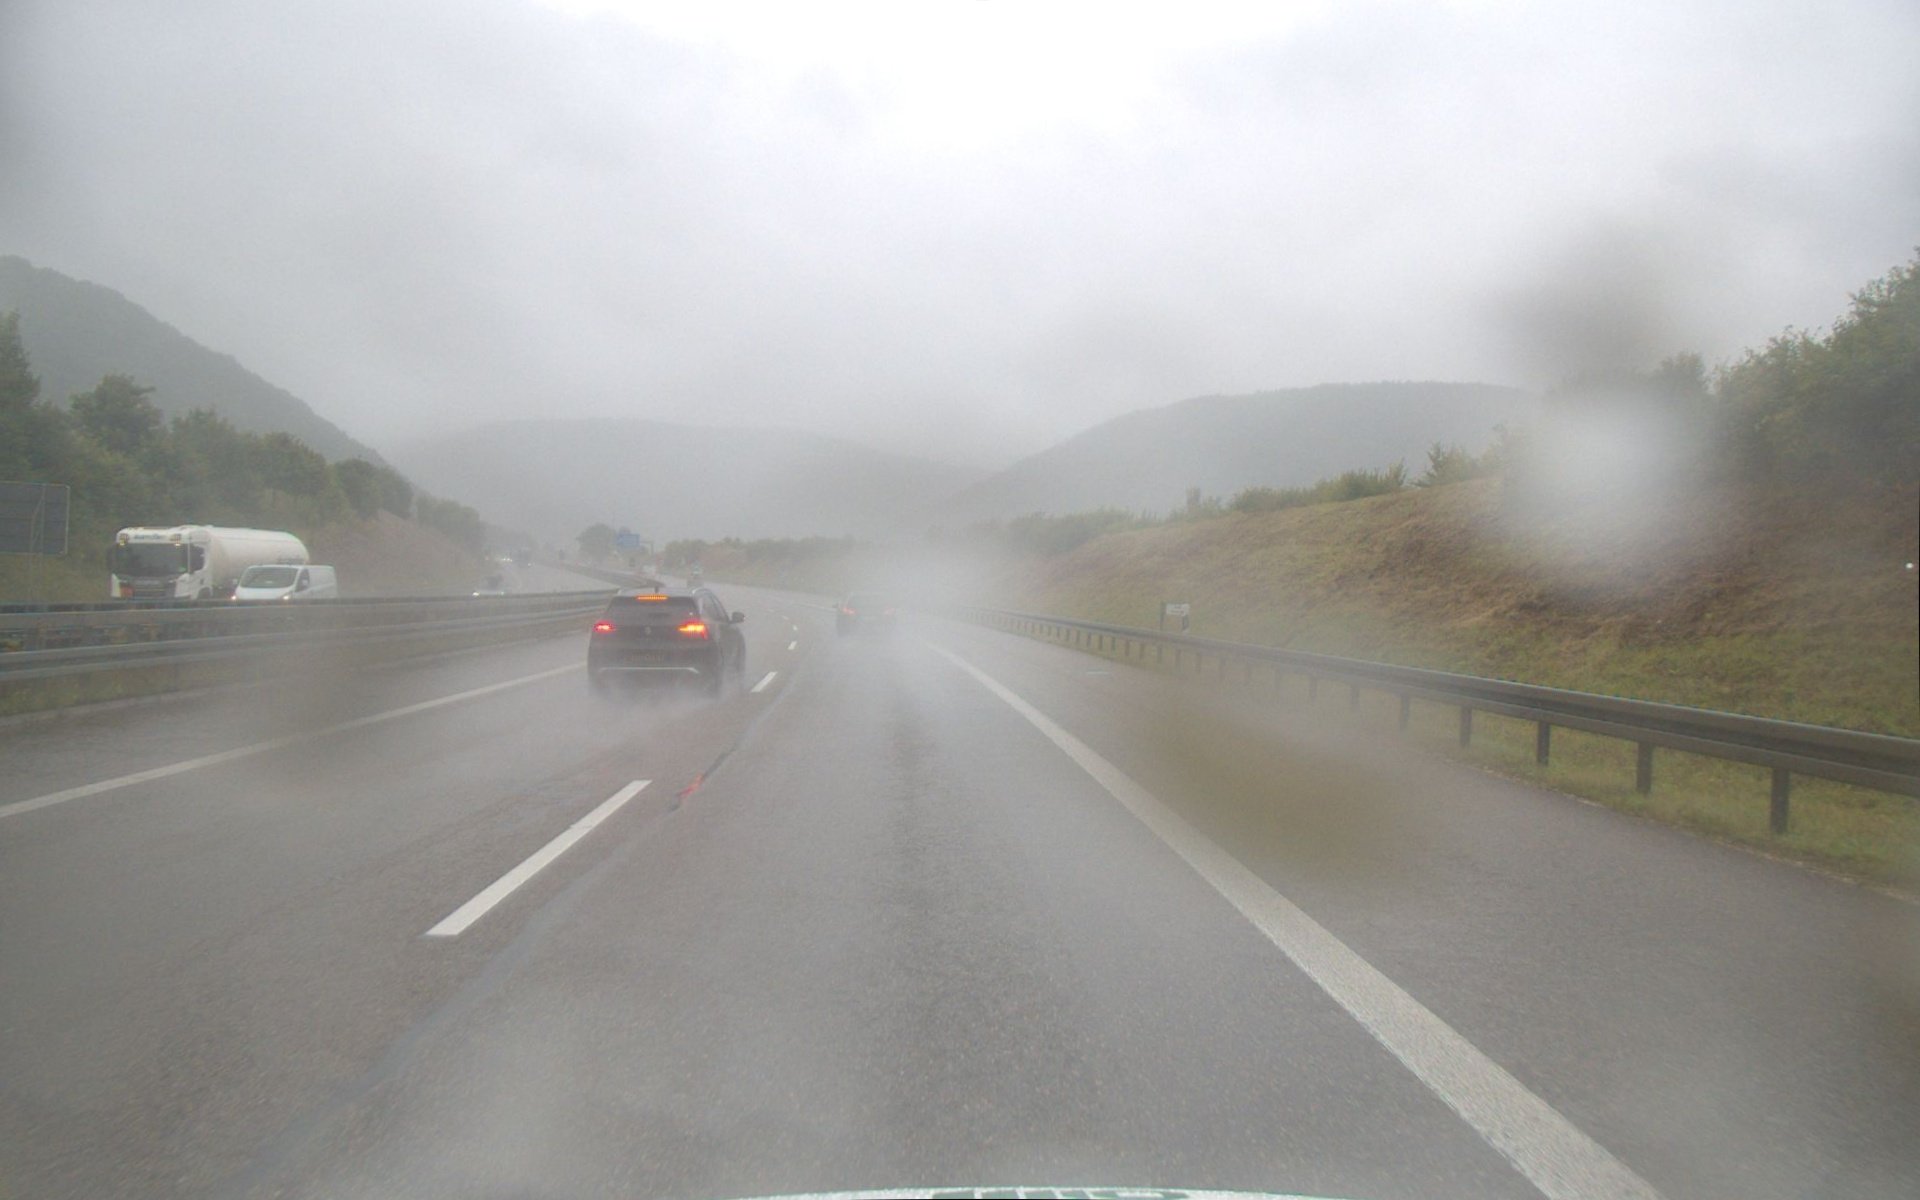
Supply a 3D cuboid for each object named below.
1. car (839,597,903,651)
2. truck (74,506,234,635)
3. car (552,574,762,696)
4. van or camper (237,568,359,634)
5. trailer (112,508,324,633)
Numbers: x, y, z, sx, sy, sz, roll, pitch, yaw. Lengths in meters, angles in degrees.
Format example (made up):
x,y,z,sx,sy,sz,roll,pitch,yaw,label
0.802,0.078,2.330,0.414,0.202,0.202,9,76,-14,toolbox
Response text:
x,y,z,sx,sy,sz,roll,pitch,yaw,label
-2.700,0.705,49.536,1.647,1.498,3.809,2,0,-7,car
-25.446,-0.895,52.504,2.828,3.868,5.310,0,0,-5,truck
-4.293,0.479,24.275,2.358,1.542,4.781,2,0,-3,car
-20.553,0.025,51.587,1.954,1.910,5.341,1,0,-4,van or camper
-25.992,-0.983,58.838,2.876,3.970,12.555,0,0,-5,trailer
